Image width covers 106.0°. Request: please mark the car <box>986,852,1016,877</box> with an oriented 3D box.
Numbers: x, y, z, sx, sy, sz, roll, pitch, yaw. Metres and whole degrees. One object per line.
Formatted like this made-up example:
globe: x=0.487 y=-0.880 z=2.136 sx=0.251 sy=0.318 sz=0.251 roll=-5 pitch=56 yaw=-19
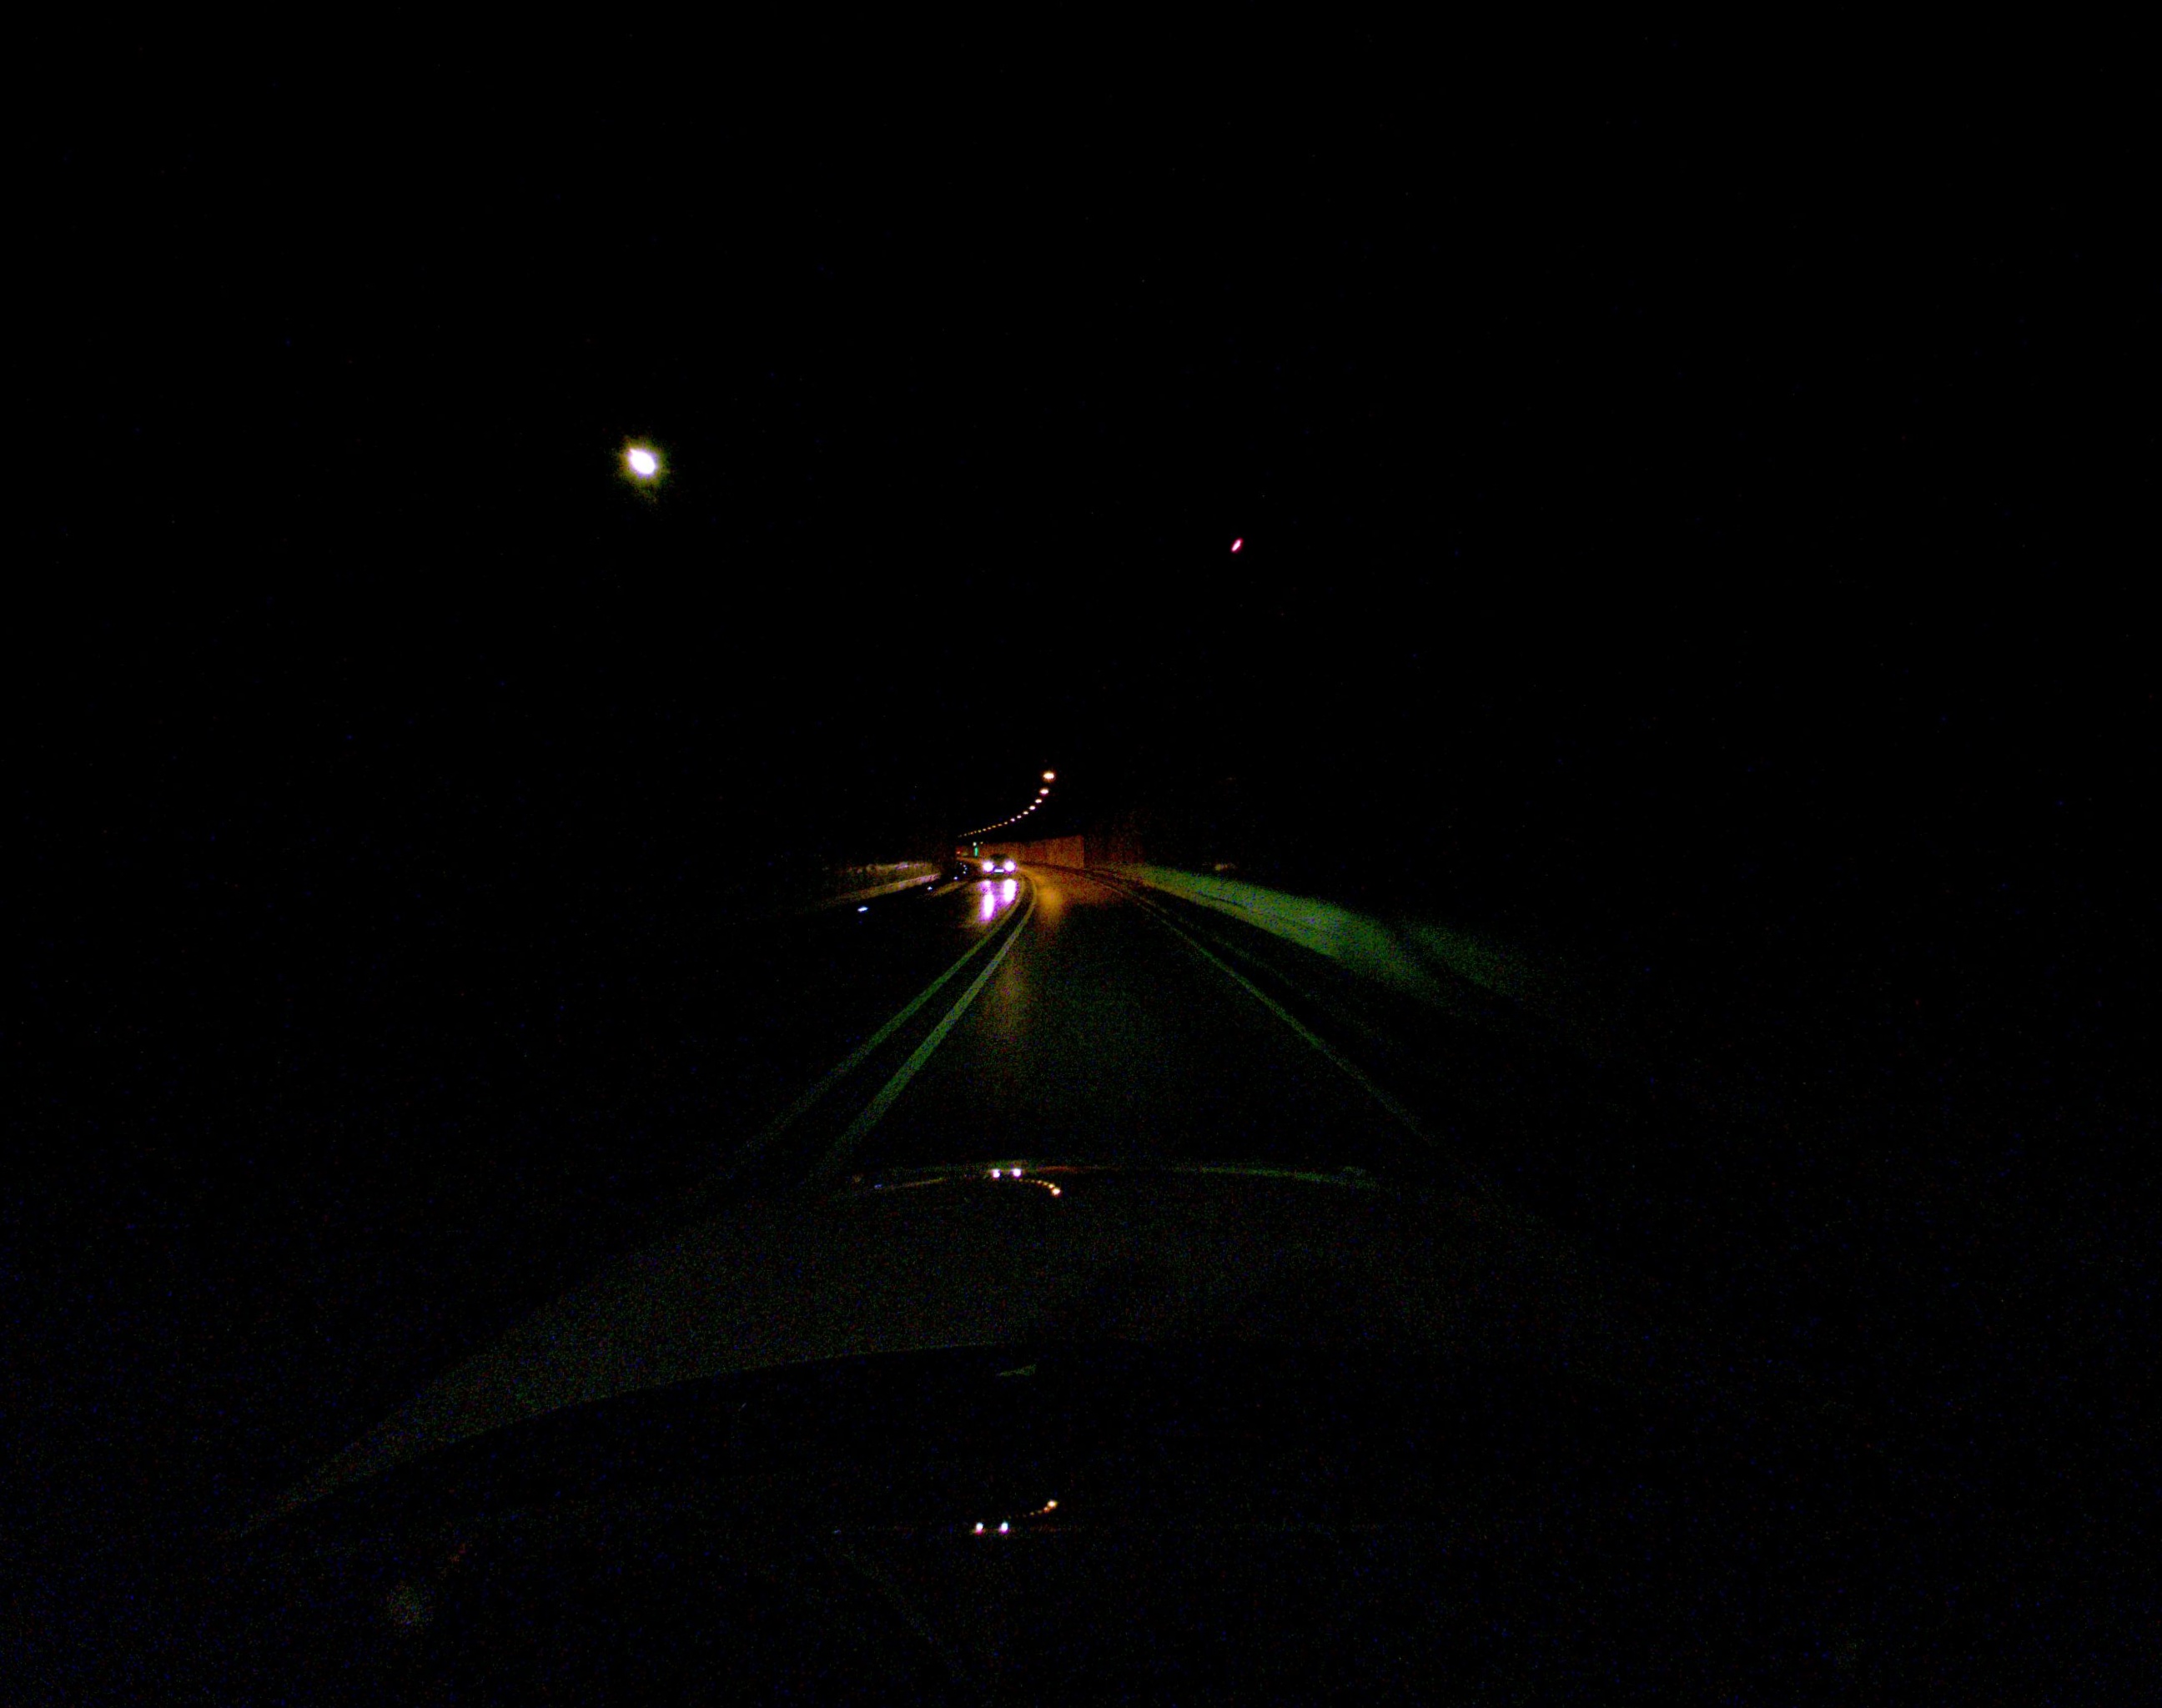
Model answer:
car: x=-4.940 y=0.637 z=50.078 sx=1.714 sy=1.443 sz=4.384 roll=0 pitch=0 yaw=-6
